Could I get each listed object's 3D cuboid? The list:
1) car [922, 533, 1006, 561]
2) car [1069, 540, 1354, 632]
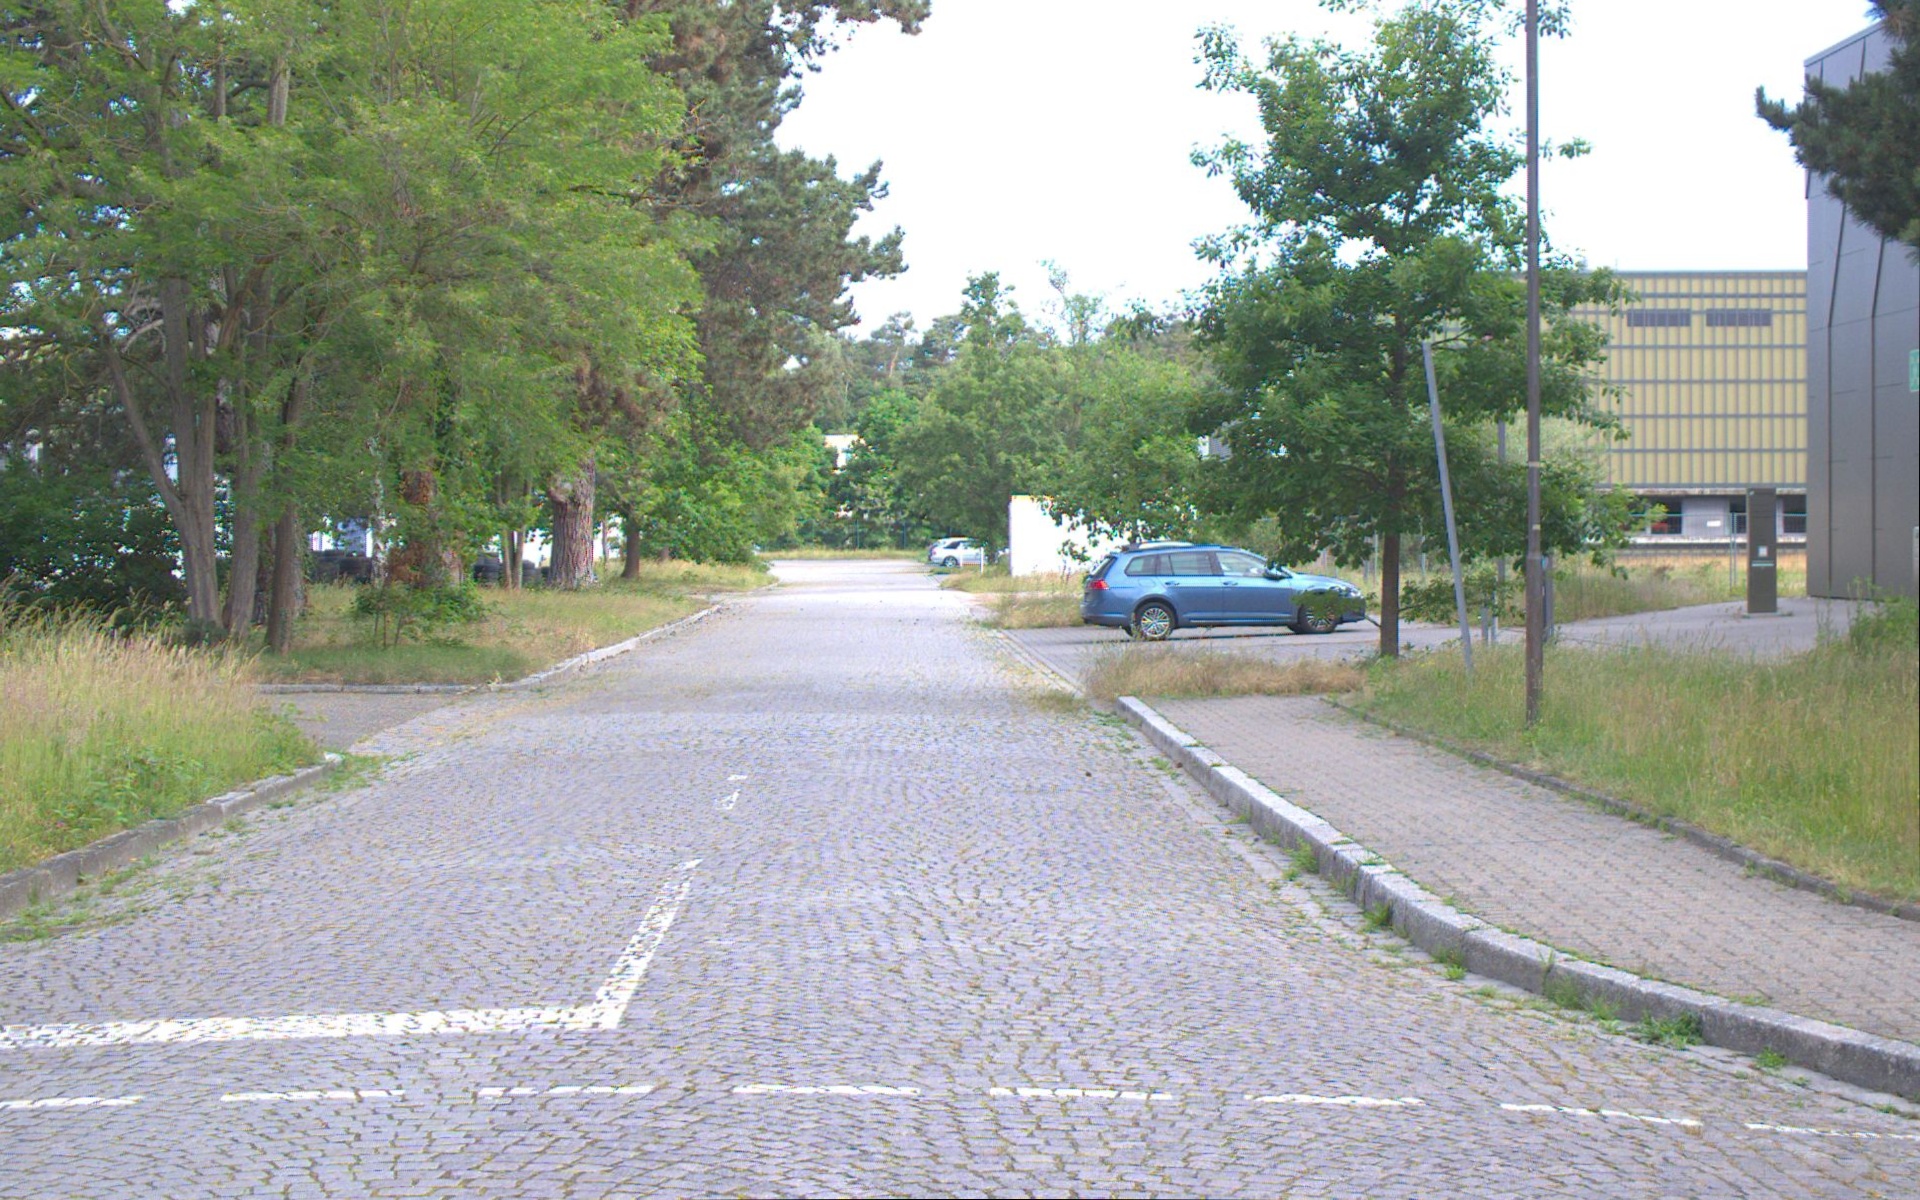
[{"bbox_3d":[0.178,-2.655,172.137,3.986,1.393,2.001,0,1,-7],"label":"car"},{"bbox_3d":[3.996,-0.238,55.118,4.343,1.417,2.000,0,1,-3],"label":"car"}]
